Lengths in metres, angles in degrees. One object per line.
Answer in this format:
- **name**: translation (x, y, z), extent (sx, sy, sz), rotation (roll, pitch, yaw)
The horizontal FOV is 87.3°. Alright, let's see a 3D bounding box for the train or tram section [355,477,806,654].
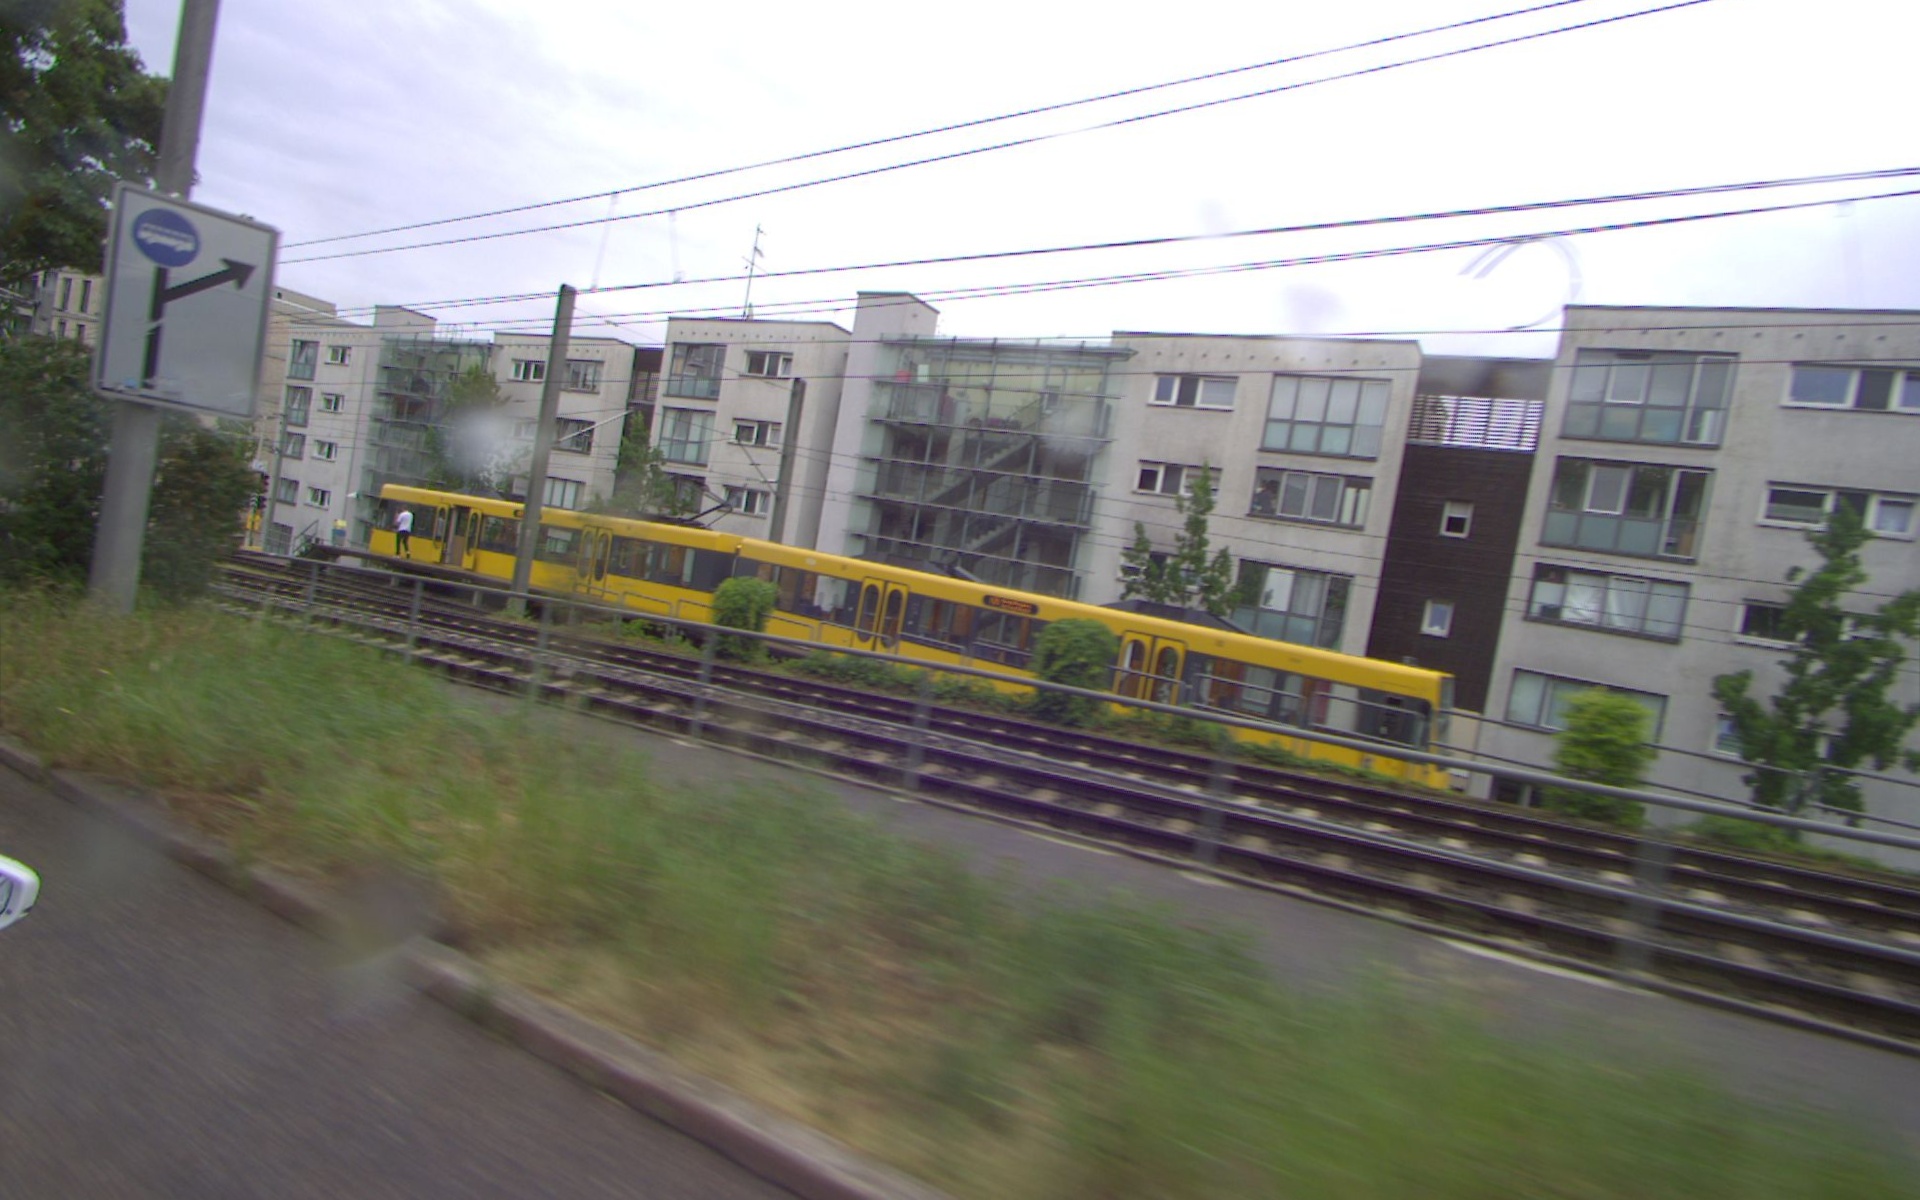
- **train or tram section**: translation (-13.581, -1.472, 33.982), extent (18.499, 3.995, 3.336), rotation (7, 0, 32)

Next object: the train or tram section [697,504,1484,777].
- **train or tram section**: translation (1.783, 0.395, 24.440), extent (18.960, 3.995, 3.336), rotation (7, -1, 32)

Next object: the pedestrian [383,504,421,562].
- **pedestrian**: translation (-19.458, -2.327, 35.077), extent (0.804, 1.903, 0.722), rotation (6, -1, 32)
